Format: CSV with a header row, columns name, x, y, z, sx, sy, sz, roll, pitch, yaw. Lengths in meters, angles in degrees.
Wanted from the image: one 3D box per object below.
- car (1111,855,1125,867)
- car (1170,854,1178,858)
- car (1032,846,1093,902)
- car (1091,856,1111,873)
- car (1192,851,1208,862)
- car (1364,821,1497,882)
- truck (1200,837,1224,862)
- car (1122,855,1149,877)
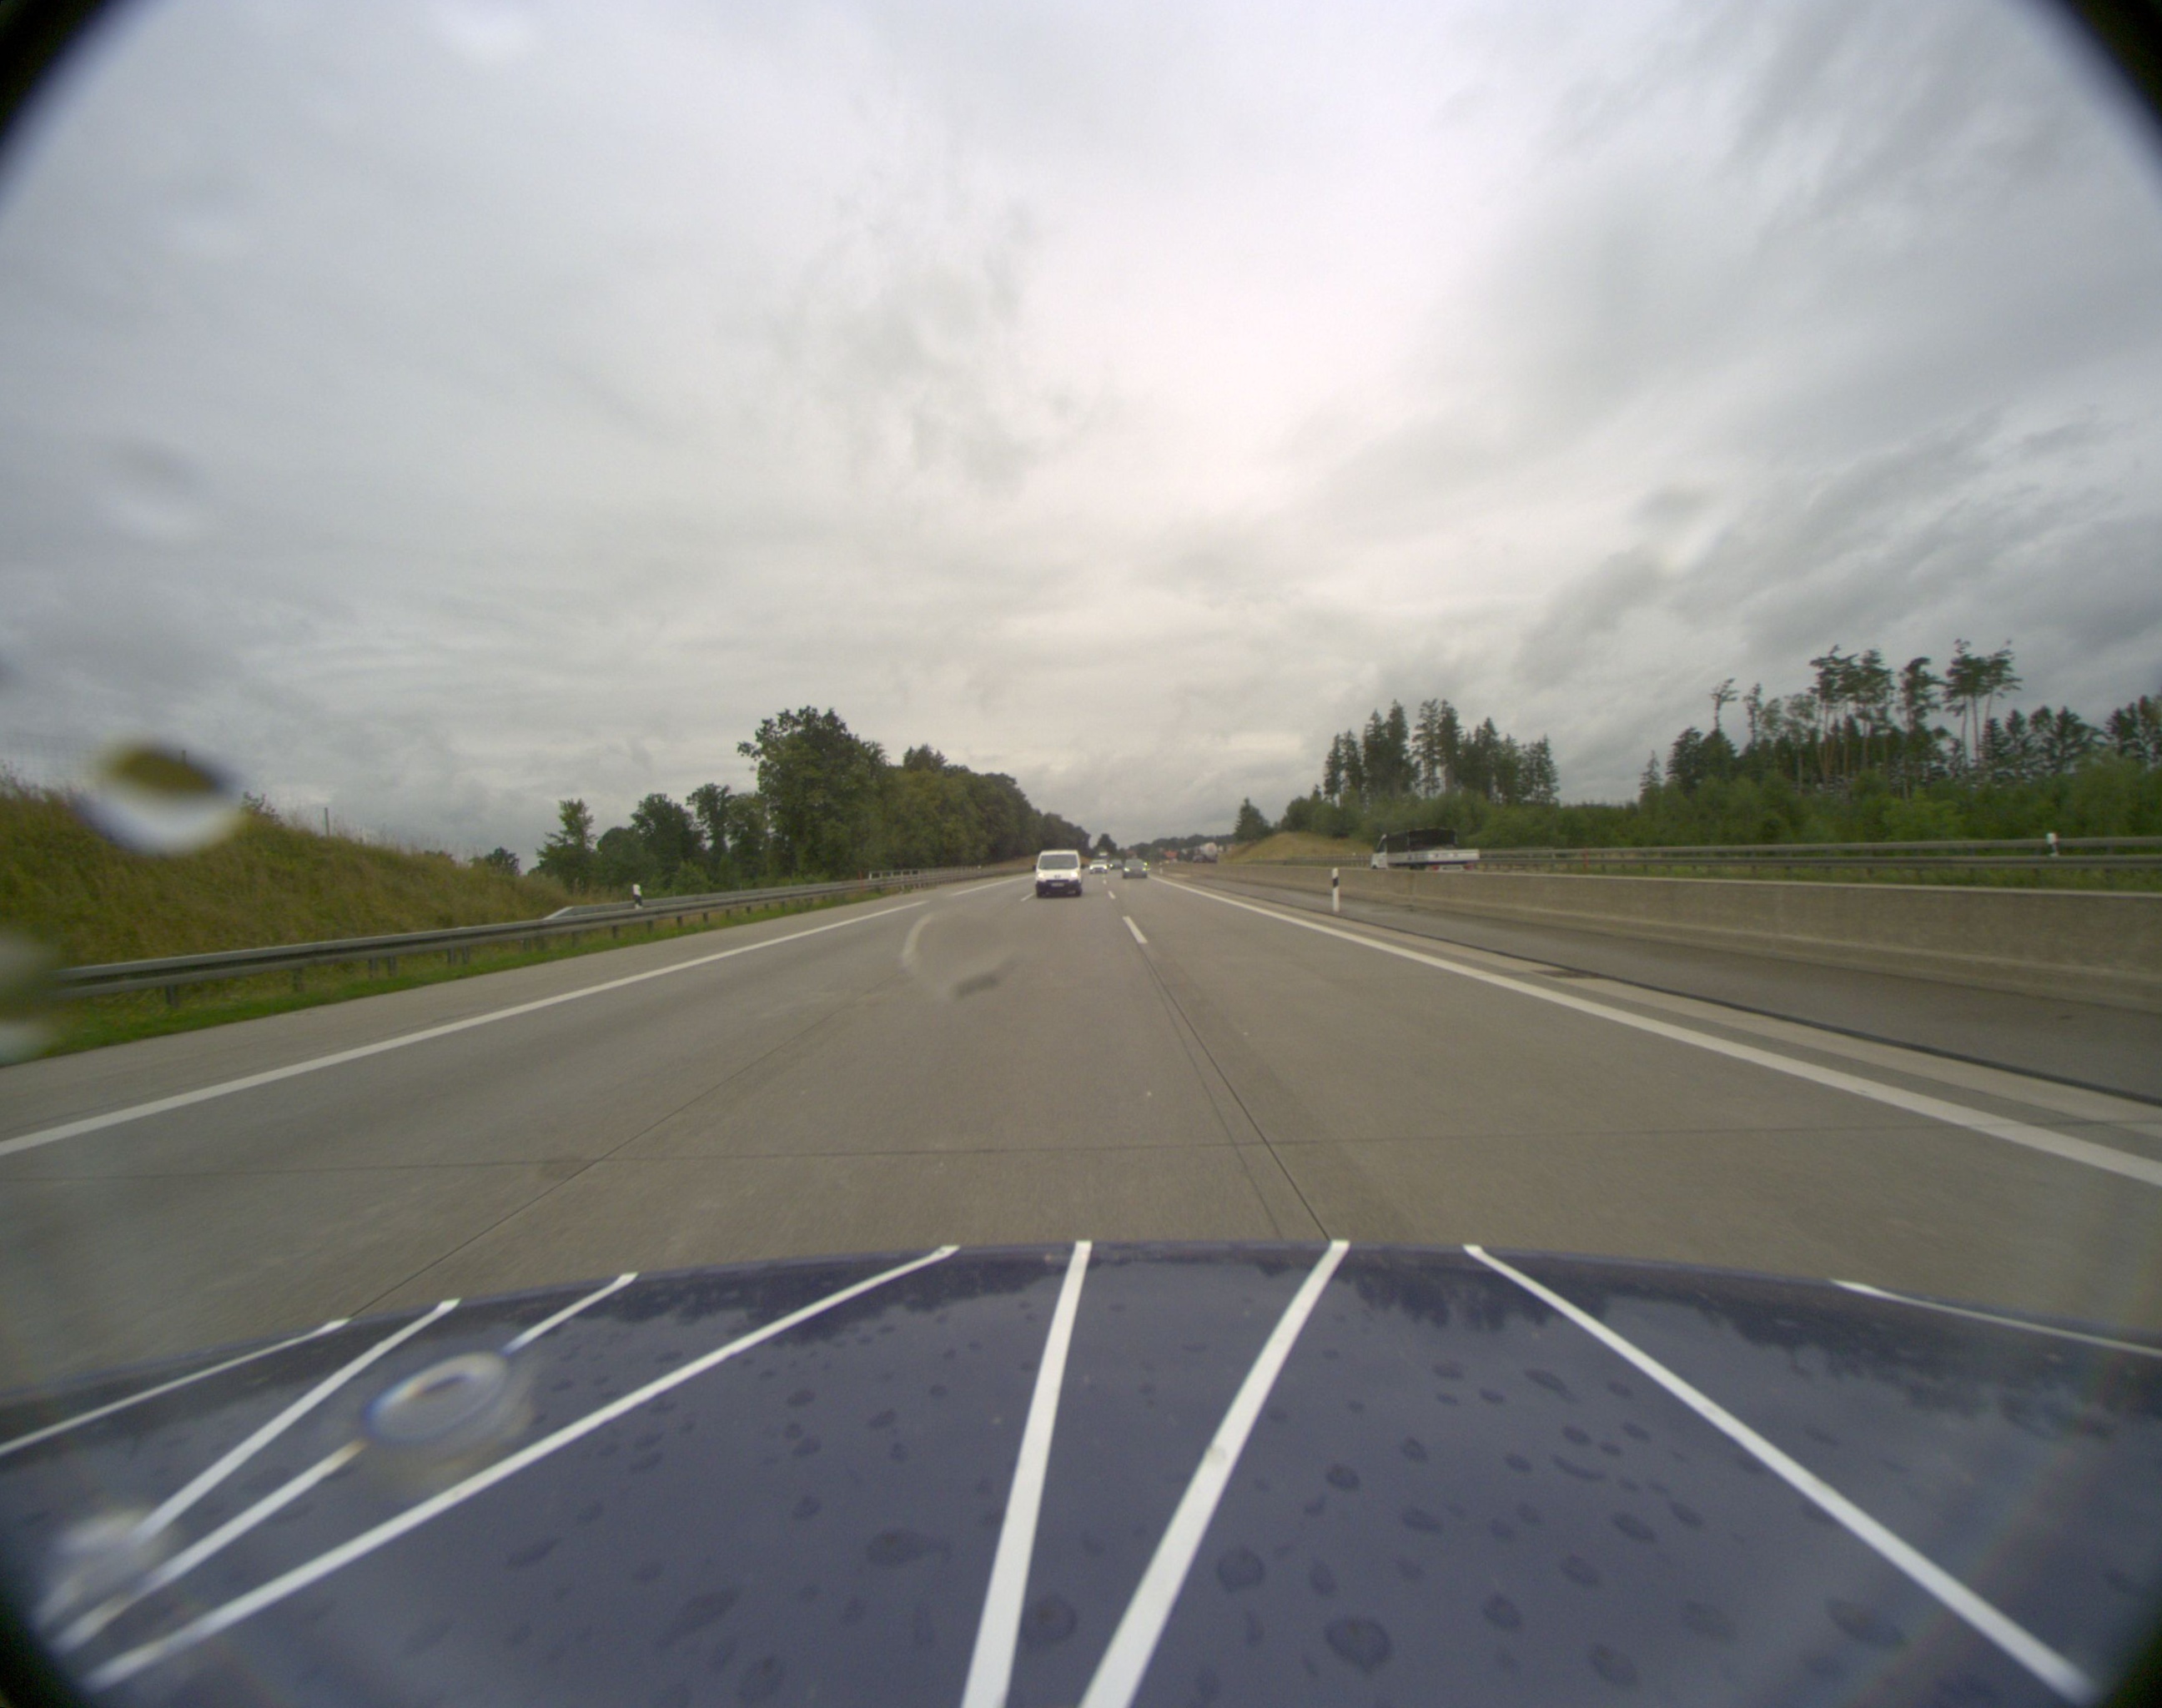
name,x,y,z,sx,sy,sz,roll,pitch,yaw
car,5.210,0.953,108.240,1.885,1.669,4.319,-2,0,3
car,26.791,0.589,219.492,1.950,1.280,4.360,-2,0,4
car,-0.667,0.788,32.843,2.042,2.111,6.069,-2,0,4
car,2.103,1.111,80.156,2.031,1.669,4.319,-2,0,1
car,18.087,0.406,115.645,1.833,1.525,5.091,-2,0,3
car,15.399,-0.108,34.229,2.627,2.386,7.517,-2,0,1
truck,22.936,-0.759,133.819,2.843,4.108,8.852,-2,0,2
car,4.091,0.860,57.236,1.789,1.472,4.571,-2,0,2
